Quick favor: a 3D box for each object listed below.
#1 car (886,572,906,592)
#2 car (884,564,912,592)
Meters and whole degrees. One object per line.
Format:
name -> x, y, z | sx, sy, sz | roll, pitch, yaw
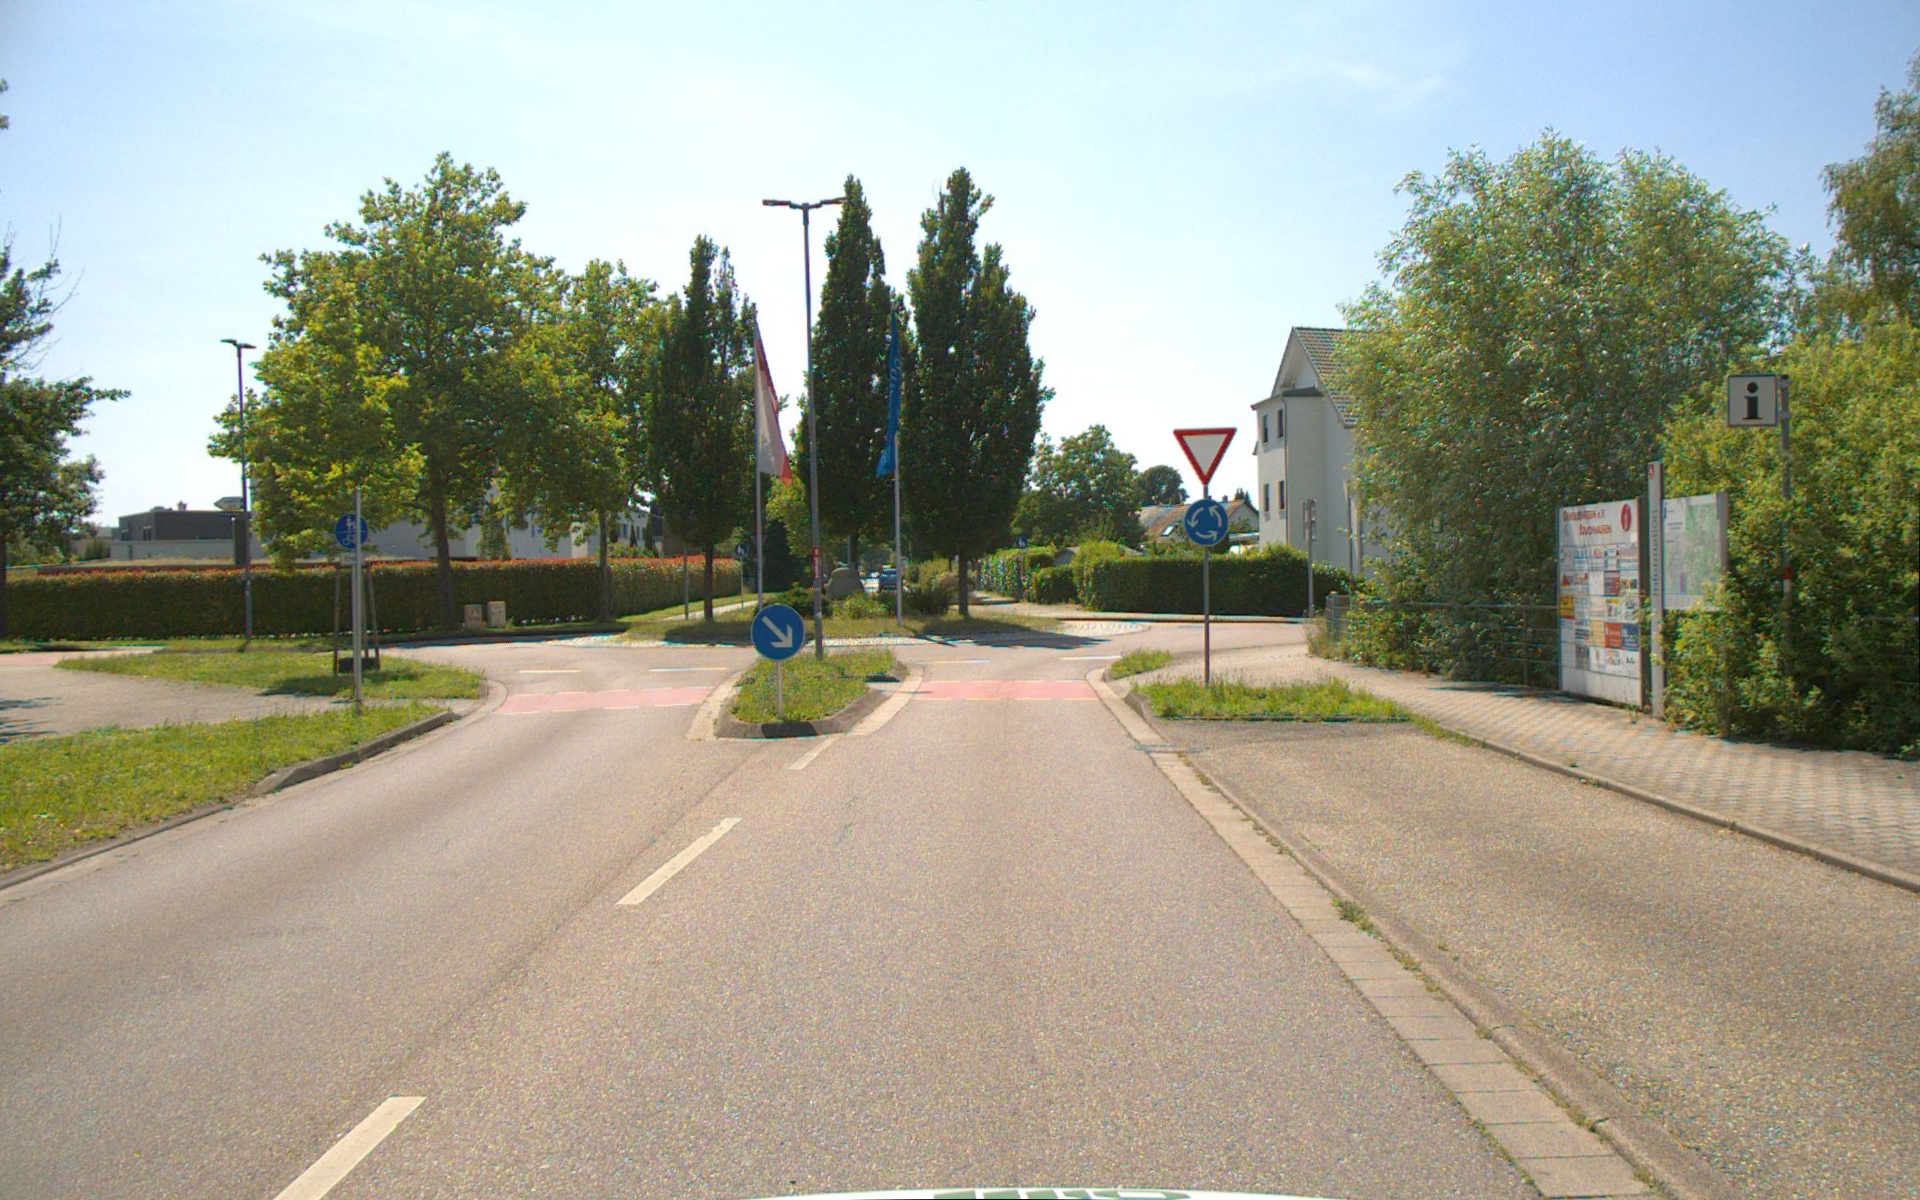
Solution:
car -> -6.121, -1.721, 158.552 | 1.953, 1.801, 3.998 | 0, 0, -2
car -> -4.362, -1.553, 115.659 | 1.884, 1.919, 3.998 | 0, 0, -3
